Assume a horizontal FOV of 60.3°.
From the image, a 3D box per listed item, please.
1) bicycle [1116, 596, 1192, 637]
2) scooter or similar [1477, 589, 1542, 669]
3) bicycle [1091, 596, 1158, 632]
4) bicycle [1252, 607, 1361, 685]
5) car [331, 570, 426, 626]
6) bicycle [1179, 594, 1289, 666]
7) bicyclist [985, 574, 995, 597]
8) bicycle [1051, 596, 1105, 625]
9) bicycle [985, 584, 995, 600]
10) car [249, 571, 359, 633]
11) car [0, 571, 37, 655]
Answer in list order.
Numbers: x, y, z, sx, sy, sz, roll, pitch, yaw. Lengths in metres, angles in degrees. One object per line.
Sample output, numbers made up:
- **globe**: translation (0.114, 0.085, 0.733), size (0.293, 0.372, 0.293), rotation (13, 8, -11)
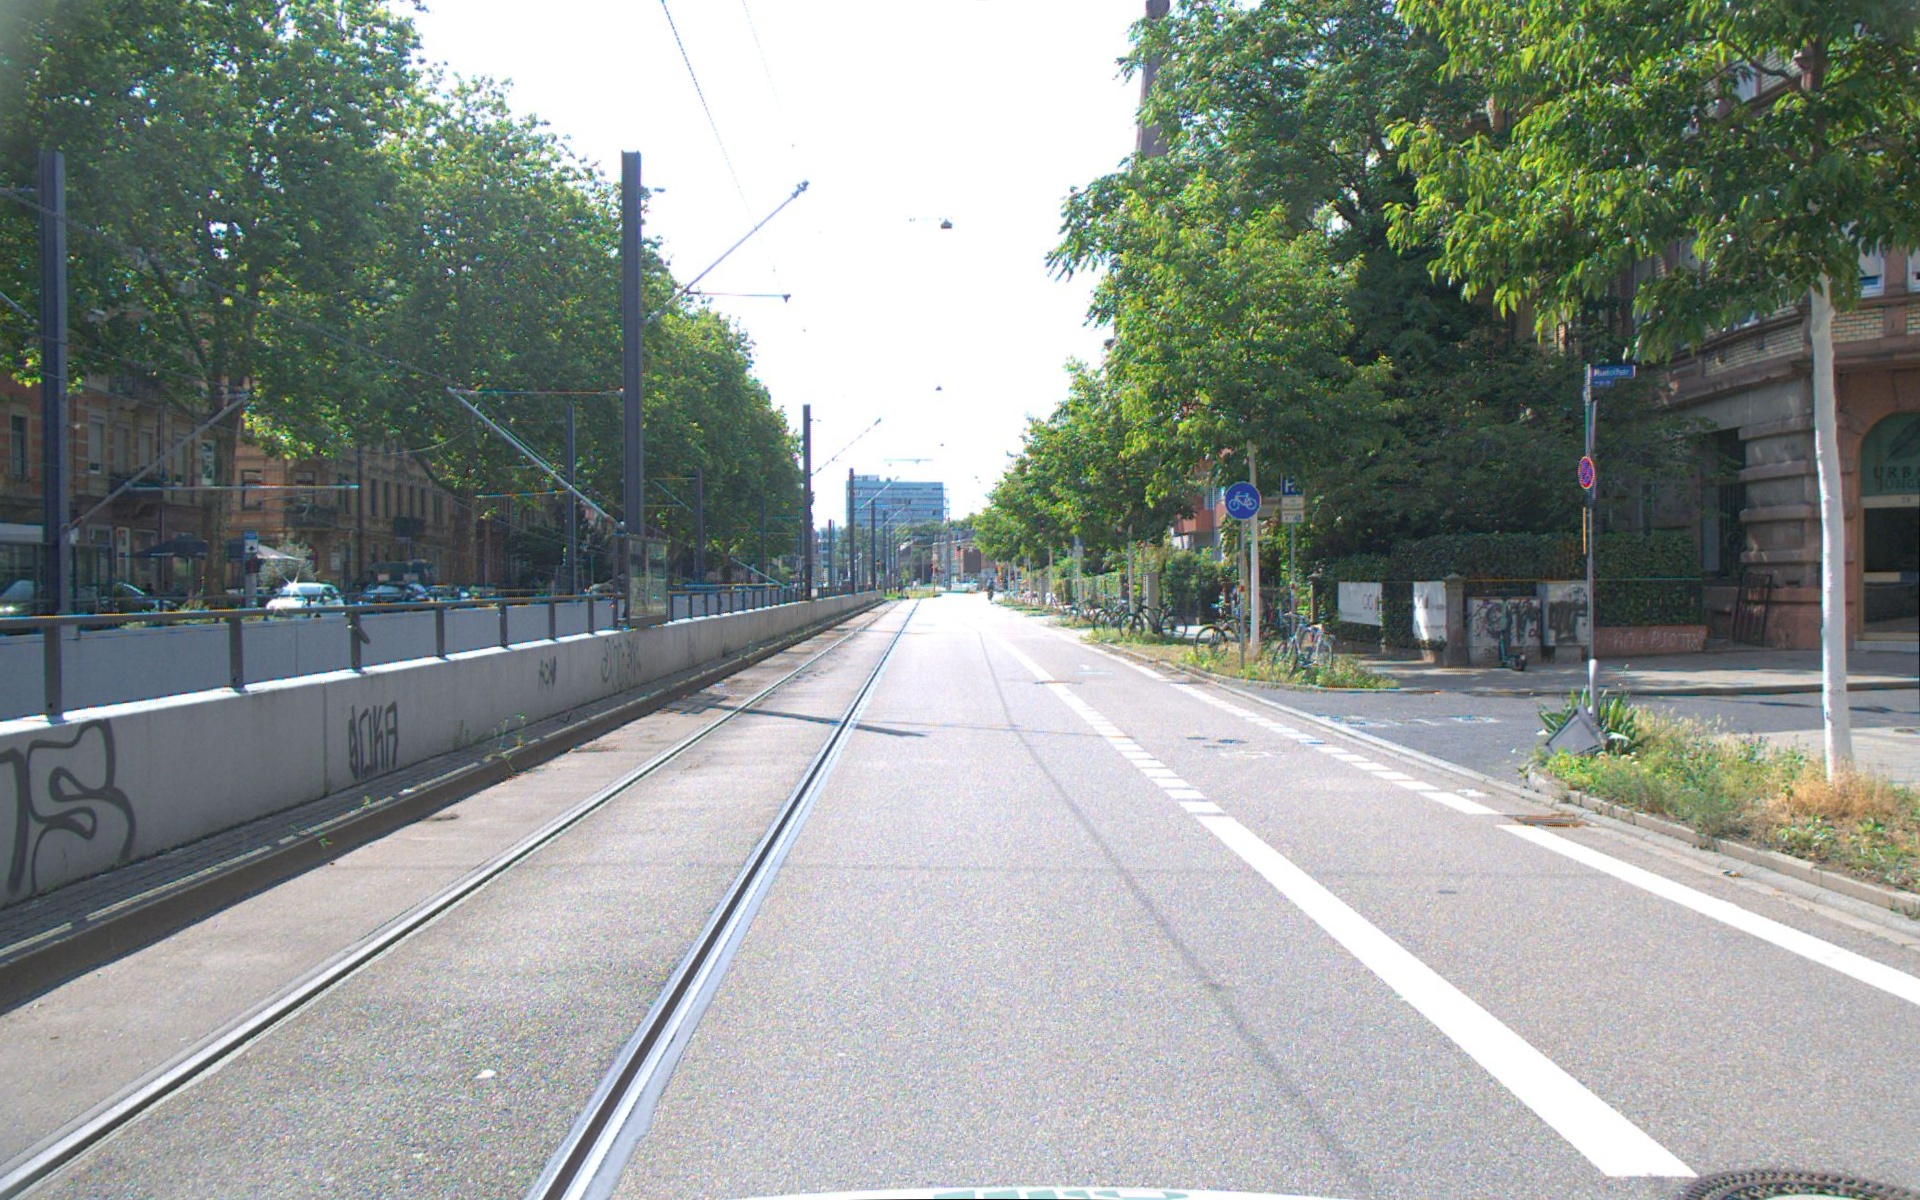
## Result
- **bicycle**: translation (4.933, 0.419, 42.097), size (1.780, 0.918, 0.651), rotation (-3, 1, -5)
- **scooter or similar**: translation (8.515, 0.437, 25.665), size (0.451, 1.178, 1.573), rotation (-2, 1, 0)
- **bicycle**: translation (4.667, 0.397, 47.027), size (1.780, 0.918, 0.603), rotation (-3, 1, -5)
- **bicycle**: translation (5.063, 0.651, 24.283), size (0.640, 1.057, 1.810), rotation (-3, 1, -22)
- **car**: translation (-19.756, -0.100, 56.391), size (1.802, 1.758, 3.999), rotation (-3, 1, -1)
- **bicycle**: translation (4.876, 0.529, 29.454), size (1.784, 1.165, 0.649), rotation (-3, 1, -12)
- **bicyclist**: translation (2.366, -1.138, 130.912), size (0.755, 1.760, 1.026), rotation (0, 0, -1)
- **bicycle**: translation (4.158, 0.352, 58.281), size (1.780, 0.918, 0.603), rotation (-3, 1, -5)
- **bicycle**: translation (2.366, -0.664, 130.931), size (0.783, 1.258, 2.777), rotation (0, 1, 0)
- **car**: translation (-20.281, 0.022, 51.301), size (1.802, 1.758, 3.999), rotation (-3, 1, -1)
- **car**: translation (-20.147, 0.276, 32.287), size (1.952, 1.665, 4.001), rotation (0, 1, 1)
